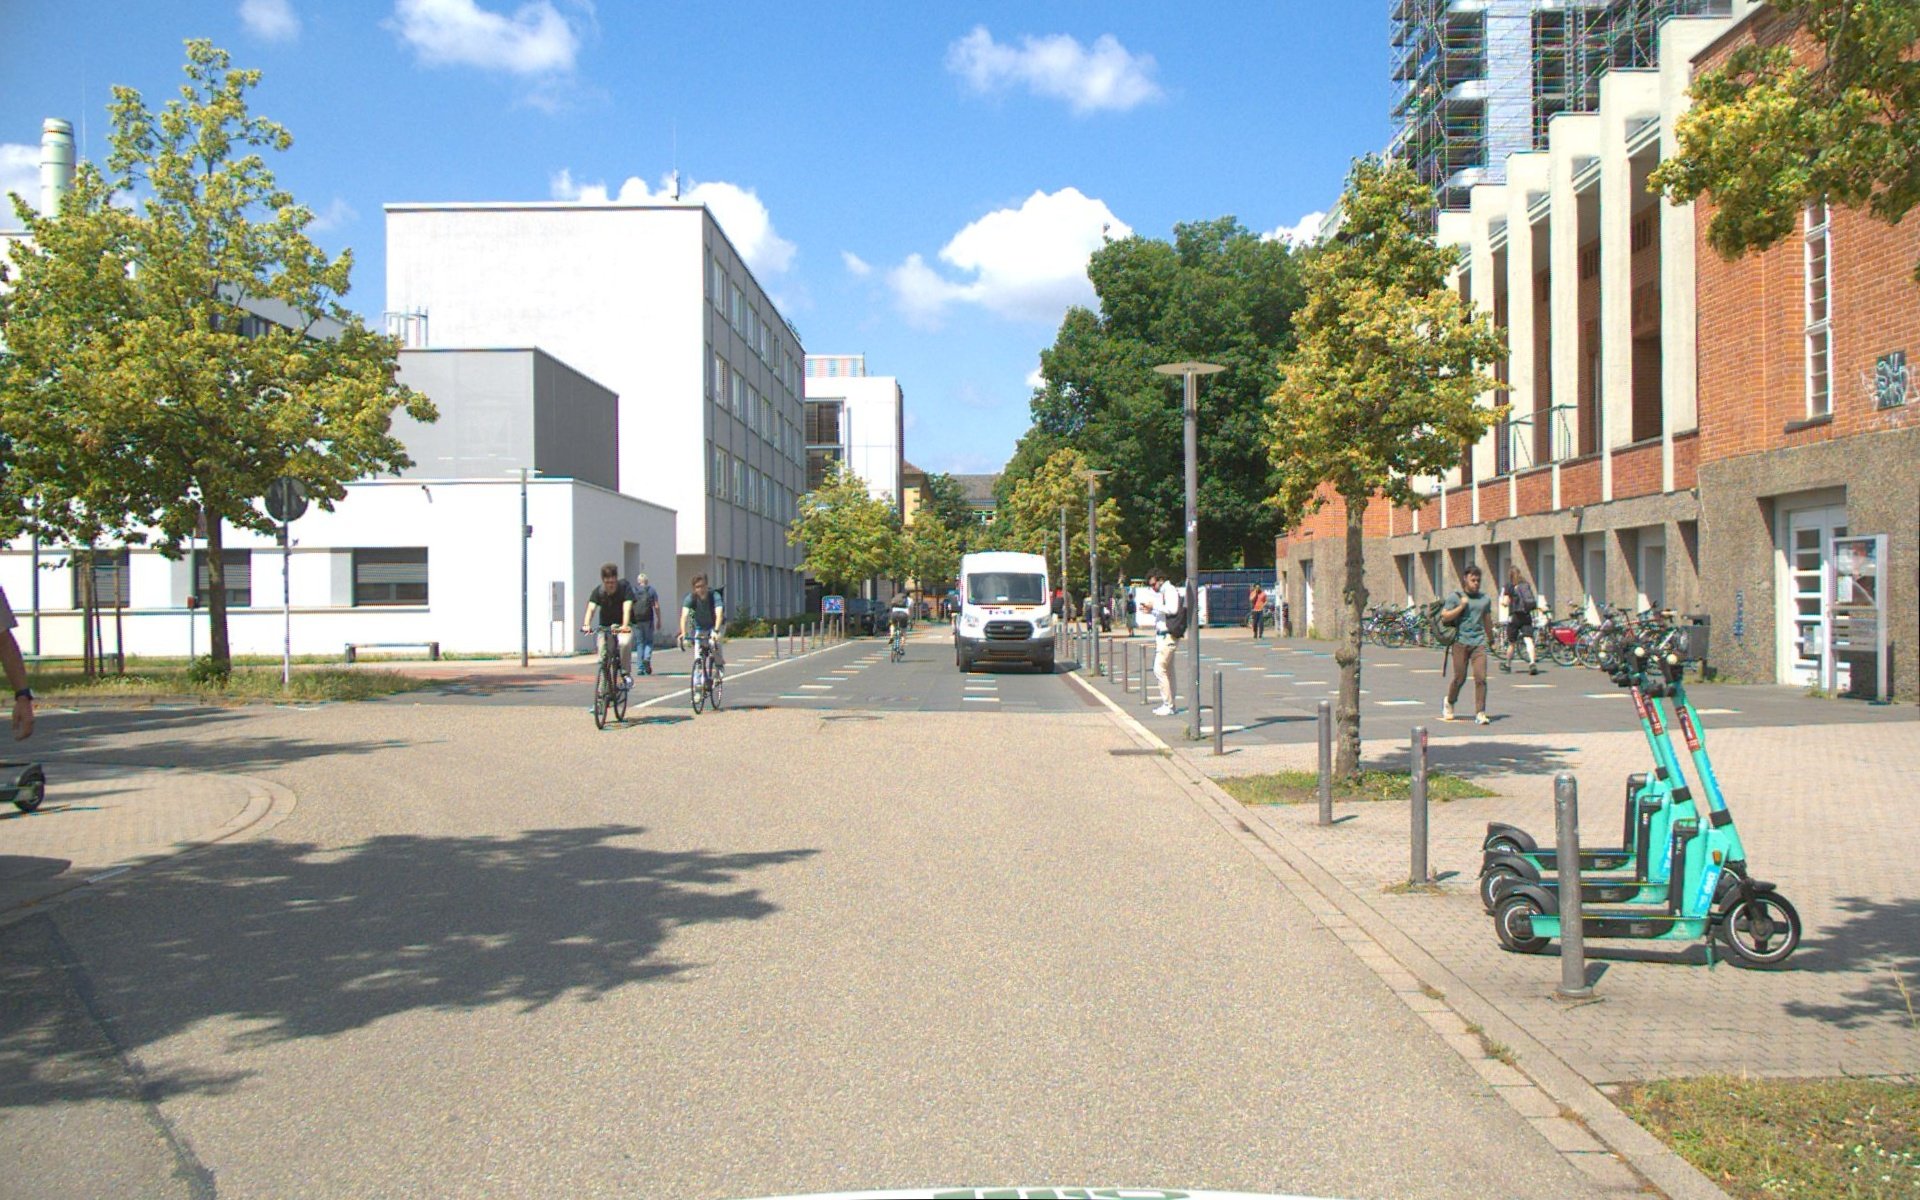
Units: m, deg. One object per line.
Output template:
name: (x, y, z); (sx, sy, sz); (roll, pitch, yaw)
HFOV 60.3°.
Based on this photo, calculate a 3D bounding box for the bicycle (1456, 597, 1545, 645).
bicycle: (12.069, 0.466, 36.940); (1.772, 1.002, 0.560); (-2, 0, 0)

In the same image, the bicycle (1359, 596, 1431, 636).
bicycle: (11.766, 0.440, 44.790); (1.772, 1.002, 0.560); (-2, 0, 0)

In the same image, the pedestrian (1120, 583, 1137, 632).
pedestrian: (6.581, 0.303, 64.555); (0.564, 1.892, 0.569); (-1, 0, -2)

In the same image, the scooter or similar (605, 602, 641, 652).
scooter or similar: (-8.662, 0.683, 42.514); (0.369, 1.237, 1.206); (-1, 0, 17)

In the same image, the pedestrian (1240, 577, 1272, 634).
pedestrian: (9.924, 0.182, 55.461); (0.834, 1.892, 1.116); (-1, 0, -2)

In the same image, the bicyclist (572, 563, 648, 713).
bicyclist: (-3.937, 0.411, 18.653); (0.630, 1.629, 0.909); (-2, 0, -1)

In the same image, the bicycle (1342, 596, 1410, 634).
bicycle: (11.858, 0.426, 47.126); (1.772, 1.002, 0.560); (-2, 0, 0)

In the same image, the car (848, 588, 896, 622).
car: (-4.188, 0.229, 79.256); (1.757, 1.557, 4.002); (-1, 0, 5)

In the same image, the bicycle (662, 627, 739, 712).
bicycle: (-3.280, 0.858, 21.022); (0.663, 0.981, 2.003); (1, 0, 0)

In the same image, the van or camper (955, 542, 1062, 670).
van or camper: (0.953, 0.131, 35.031); (1.953, 2.488, 4.568); (1, -1, -2)

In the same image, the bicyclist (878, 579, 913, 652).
bicyclist: (-1.542, 0.364, 39.664); (0.702, 1.691, 1.095); (-2, 0, 2)

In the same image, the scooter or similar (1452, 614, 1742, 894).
scooter or similar: (3.188, 0.729, 8.294); (1.238, 1.287, 0.638); (-1, 0, 33)

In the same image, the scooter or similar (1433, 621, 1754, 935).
scooter or similar: (2.861, 0.751, 7.485); (1.238, 1.287, 0.649); (-1, 0, 33)

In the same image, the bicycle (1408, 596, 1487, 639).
bicycle: (12.176, 0.431, 41.308); (1.772, 1.002, 0.560); (-2, 0, 0)

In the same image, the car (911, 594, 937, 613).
car: (-2.970, 0.269, 138.309); (1.757, 1.557, 4.002); (-1, 0, 5)

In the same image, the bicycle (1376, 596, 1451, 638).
bicycle: (11.854, 0.442, 43.254); (1.772, 1.002, 0.560); (-2, 0, 0)

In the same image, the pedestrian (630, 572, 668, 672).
pedestrian: (-5.748, 0.408, 30.526); (0.655, 1.817, 0.982); (0, -1, -12)

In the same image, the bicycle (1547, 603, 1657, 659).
bicycle: (11.799, 0.566, 30.425); (1.772, 0.928, 0.560); (-2, 0, 0)

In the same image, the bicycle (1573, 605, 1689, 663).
bicycle: (11.748, 0.590, 28.980); (1.772, 0.928, 0.560); (-2, 0, 0)

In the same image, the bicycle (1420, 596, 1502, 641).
bicycle: (12.104, 0.452, 39.975); (1.772, 1.002, 0.560); (-2, 0, 0)

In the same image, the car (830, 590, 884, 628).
car: (-4.425, 0.383, 71.843); (1.757, 1.557, 4.002); (-1, 0, 5)

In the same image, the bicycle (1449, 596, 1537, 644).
bicycle: (12.090, 0.456, 37.527); (1.772, 1.002, 0.560); (-2, 0, 0)

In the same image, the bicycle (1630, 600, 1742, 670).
bicycle: (11.504, 0.548, 26.233); (1.503, 1.051, 0.560); (-2, 0, 0)

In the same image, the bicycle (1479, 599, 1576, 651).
bicycle: (11.708, 0.513, 34.149); (1.772, 1.002, 0.560); (-2, 0, 0)

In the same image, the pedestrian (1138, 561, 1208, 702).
pedestrian: (2.706, 0.389, 21.064); (0.688, 1.724, 0.962); (-3, 0, 1)

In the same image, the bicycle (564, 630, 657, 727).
bicycle: (-3.919, 0.855, 18.673); (0.663, 0.981, 2.002); (1, 0, -1)

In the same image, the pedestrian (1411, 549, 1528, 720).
pedestrian: (5.566, 0.365, 18.136); (0.836, 1.763, 1.160); (-3, 0, 0)

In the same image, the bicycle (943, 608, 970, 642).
bicycle: (-0.113, 0.801, 53.157); (0.791, 1.019, 2.124); (-1, 1, 2)

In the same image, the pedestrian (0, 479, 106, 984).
pedestrian: (-4.160, 0.506, 6.785); (1.000, 1.937, 1.171); (0, -1, -20)

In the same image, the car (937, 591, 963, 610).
car: (-0.820, 0.029, 137.713); (1.757, 1.557, 4.002); (-1, 0, 5)

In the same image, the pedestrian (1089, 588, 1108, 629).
pedestrian: (6.395, 0.381, 76.535); (0.773, 1.892, 1.026); (-1, 0, 2)

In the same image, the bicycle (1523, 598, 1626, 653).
bicycle: (11.999, 0.492, 32.332); (1.772, 1.002, 0.560); (-2, 0, 0)

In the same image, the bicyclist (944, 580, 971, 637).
bicyclist: (-0.069, 0.271, 53.254); (0.755, 1.786, 0.848); (4, 0, 1)

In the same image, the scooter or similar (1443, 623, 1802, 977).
scooter or similar: (2.683, 0.752, 6.712); (1.238, 1.287, 0.649); (-1, 0, 33)

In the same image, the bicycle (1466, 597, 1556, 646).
bicycle: (12.096, 0.471, 36.337); (1.772, 1.002, 0.560); (-2, 0, 0)

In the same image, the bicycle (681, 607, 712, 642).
bicycle: (-7.955, 0.733, 49.967); (0.512, 1.002, 1.633); (-2, 0, 5)

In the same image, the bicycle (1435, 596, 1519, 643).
bicycle: (12.113, 0.456, 38.764); (1.772, 1.002, 0.560); (-2, 0, 0)

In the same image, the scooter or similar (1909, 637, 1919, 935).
scooter or similar: (3.943, 0.738, 5.920); (0.635, 1.180, 1.265); (-1, 0, 16)

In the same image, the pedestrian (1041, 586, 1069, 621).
pedestrian: (5.803, 0.189, 100.977); (1.469, 2.030, 1.646); (-4, 1, -1)

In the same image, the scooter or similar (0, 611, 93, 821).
scooter or similar: (-6.353, 0.758, 10.820); (0.493, 1.322, 1.217); (-2, 1, 12)

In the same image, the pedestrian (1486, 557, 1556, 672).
pedestrian: (9.483, 0.245, 27.999); (0.774, 1.892, 1.116); (-1, 0, 0)

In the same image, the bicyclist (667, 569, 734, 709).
bicyclist: (-3.276, 0.481, 20.933); (0.653, 1.711, 0.992); (-2, 0, -1)

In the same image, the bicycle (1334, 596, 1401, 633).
bicycle: (11.851, 0.413, 48.119); (1.772, 1.002, 0.560); (-2, 0, 0)

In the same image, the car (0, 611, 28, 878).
car: (-5.655, 0.750, 6.527); (1.611, 1.323, 3.928); (-1, 0, 2)

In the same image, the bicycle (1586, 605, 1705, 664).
bicycle: (11.663, 0.588, 28.165); (1.772, 0.928, 0.560); (-2, 0, 0)

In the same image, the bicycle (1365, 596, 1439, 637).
bicycle: (11.777, 0.441, 44.084); (1.772, 1.002, 0.560); (-2, 0, 0)

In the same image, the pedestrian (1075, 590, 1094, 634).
pedestrian: (5.500, 0.518, 73.058); (0.773, 1.892, 1.243); (-1, 0, 2)

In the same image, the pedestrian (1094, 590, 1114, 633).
pedestrian: (6.328, 0.497, 72.710); (0.773, 1.892, 1.026); (-1, 0, 2)

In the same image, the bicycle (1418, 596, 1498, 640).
bicycle: (12.251, 0.443, 40.714); (1.772, 1.002, 0.560); (-2, 0, 0)

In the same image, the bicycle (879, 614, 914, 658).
bicycle: (-1.514, 0.863, 39.845); (0.692, 1.010, 1.911); (1, 0, 2)
